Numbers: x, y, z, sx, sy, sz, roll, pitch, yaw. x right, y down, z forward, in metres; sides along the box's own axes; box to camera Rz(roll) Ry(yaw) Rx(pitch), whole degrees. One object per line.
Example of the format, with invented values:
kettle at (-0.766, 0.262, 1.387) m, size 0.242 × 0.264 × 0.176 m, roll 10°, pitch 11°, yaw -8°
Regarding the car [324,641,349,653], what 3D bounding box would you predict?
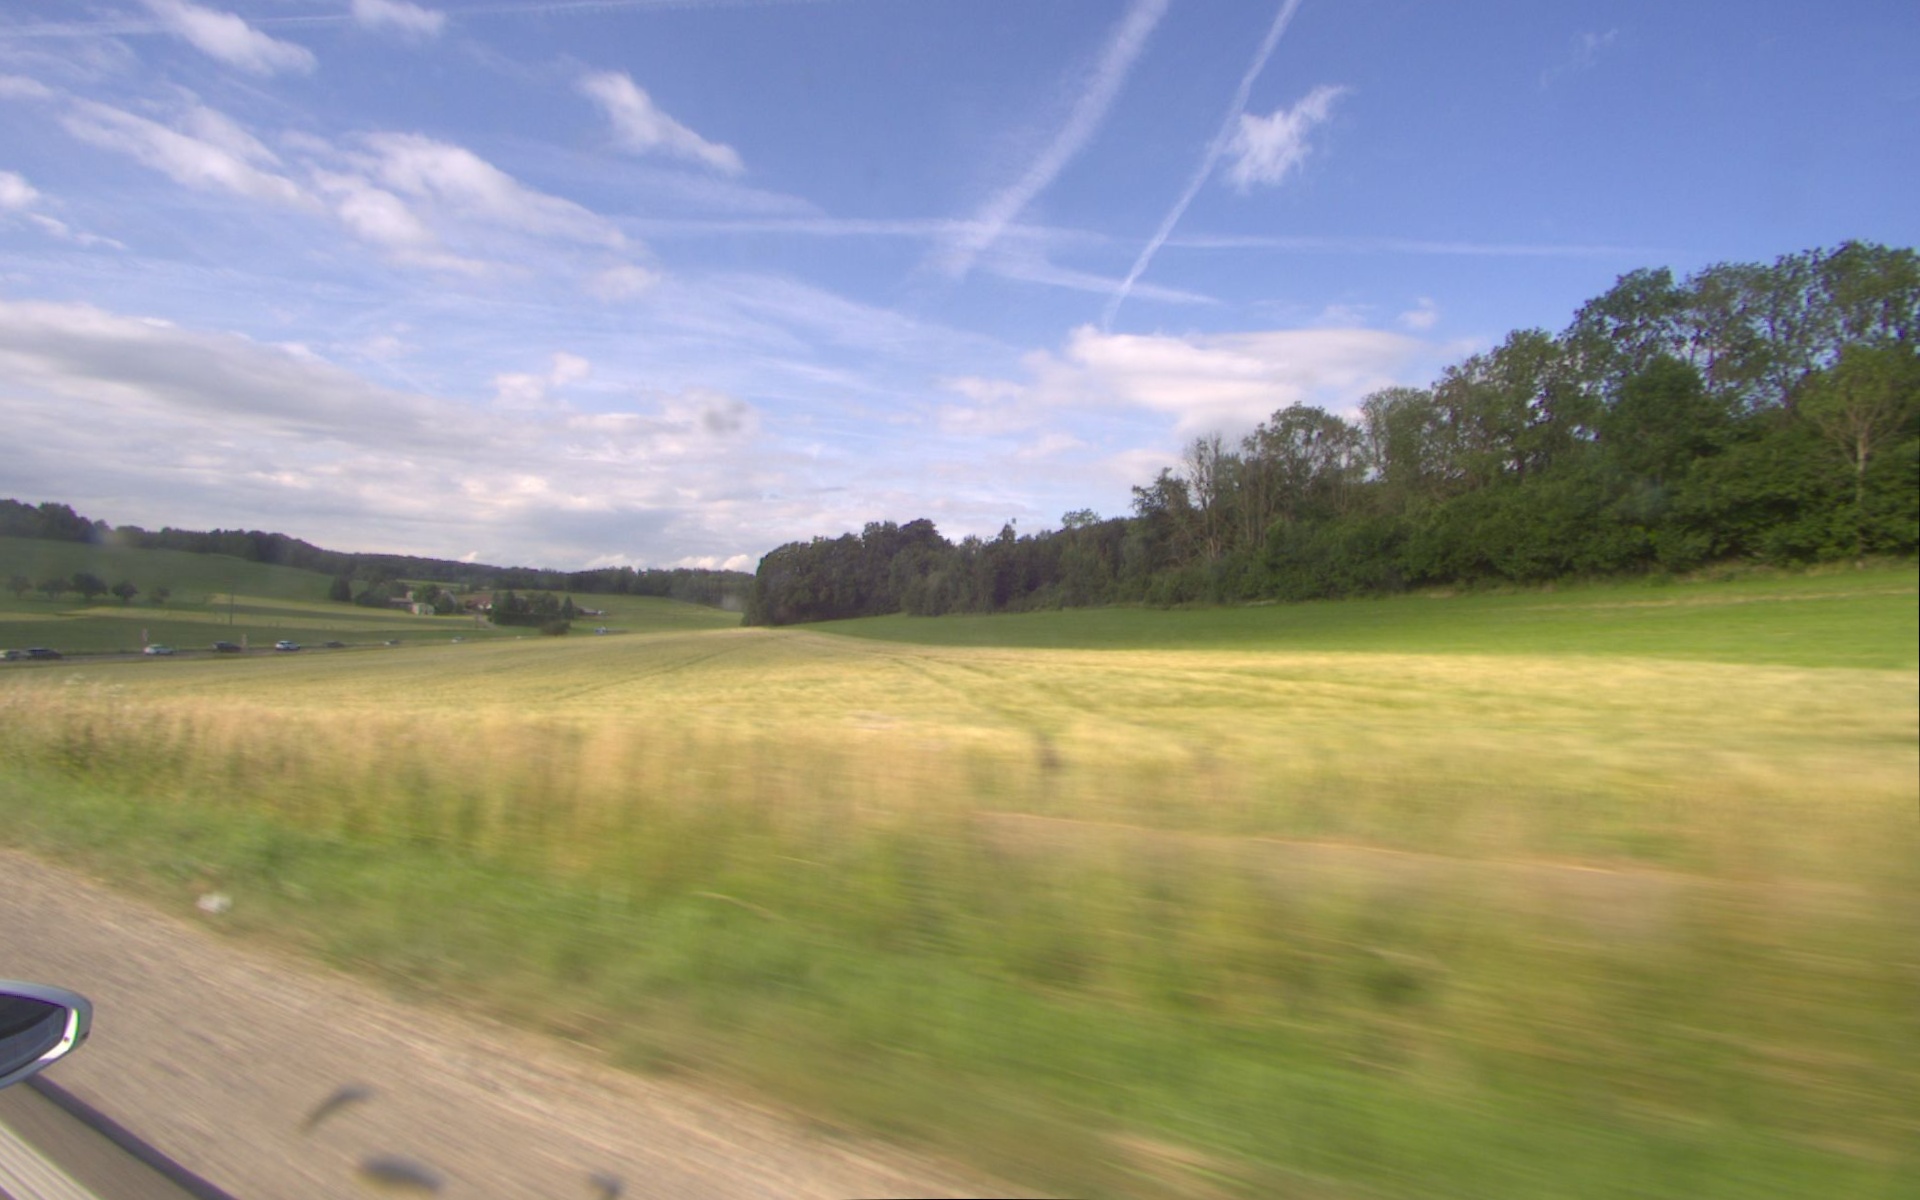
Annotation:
car at (-111.166, 8.349, 178.578) m, size 1.961 × 2.040 × 4.000 m, roll -1°, pitch -1°, yaw 1°
